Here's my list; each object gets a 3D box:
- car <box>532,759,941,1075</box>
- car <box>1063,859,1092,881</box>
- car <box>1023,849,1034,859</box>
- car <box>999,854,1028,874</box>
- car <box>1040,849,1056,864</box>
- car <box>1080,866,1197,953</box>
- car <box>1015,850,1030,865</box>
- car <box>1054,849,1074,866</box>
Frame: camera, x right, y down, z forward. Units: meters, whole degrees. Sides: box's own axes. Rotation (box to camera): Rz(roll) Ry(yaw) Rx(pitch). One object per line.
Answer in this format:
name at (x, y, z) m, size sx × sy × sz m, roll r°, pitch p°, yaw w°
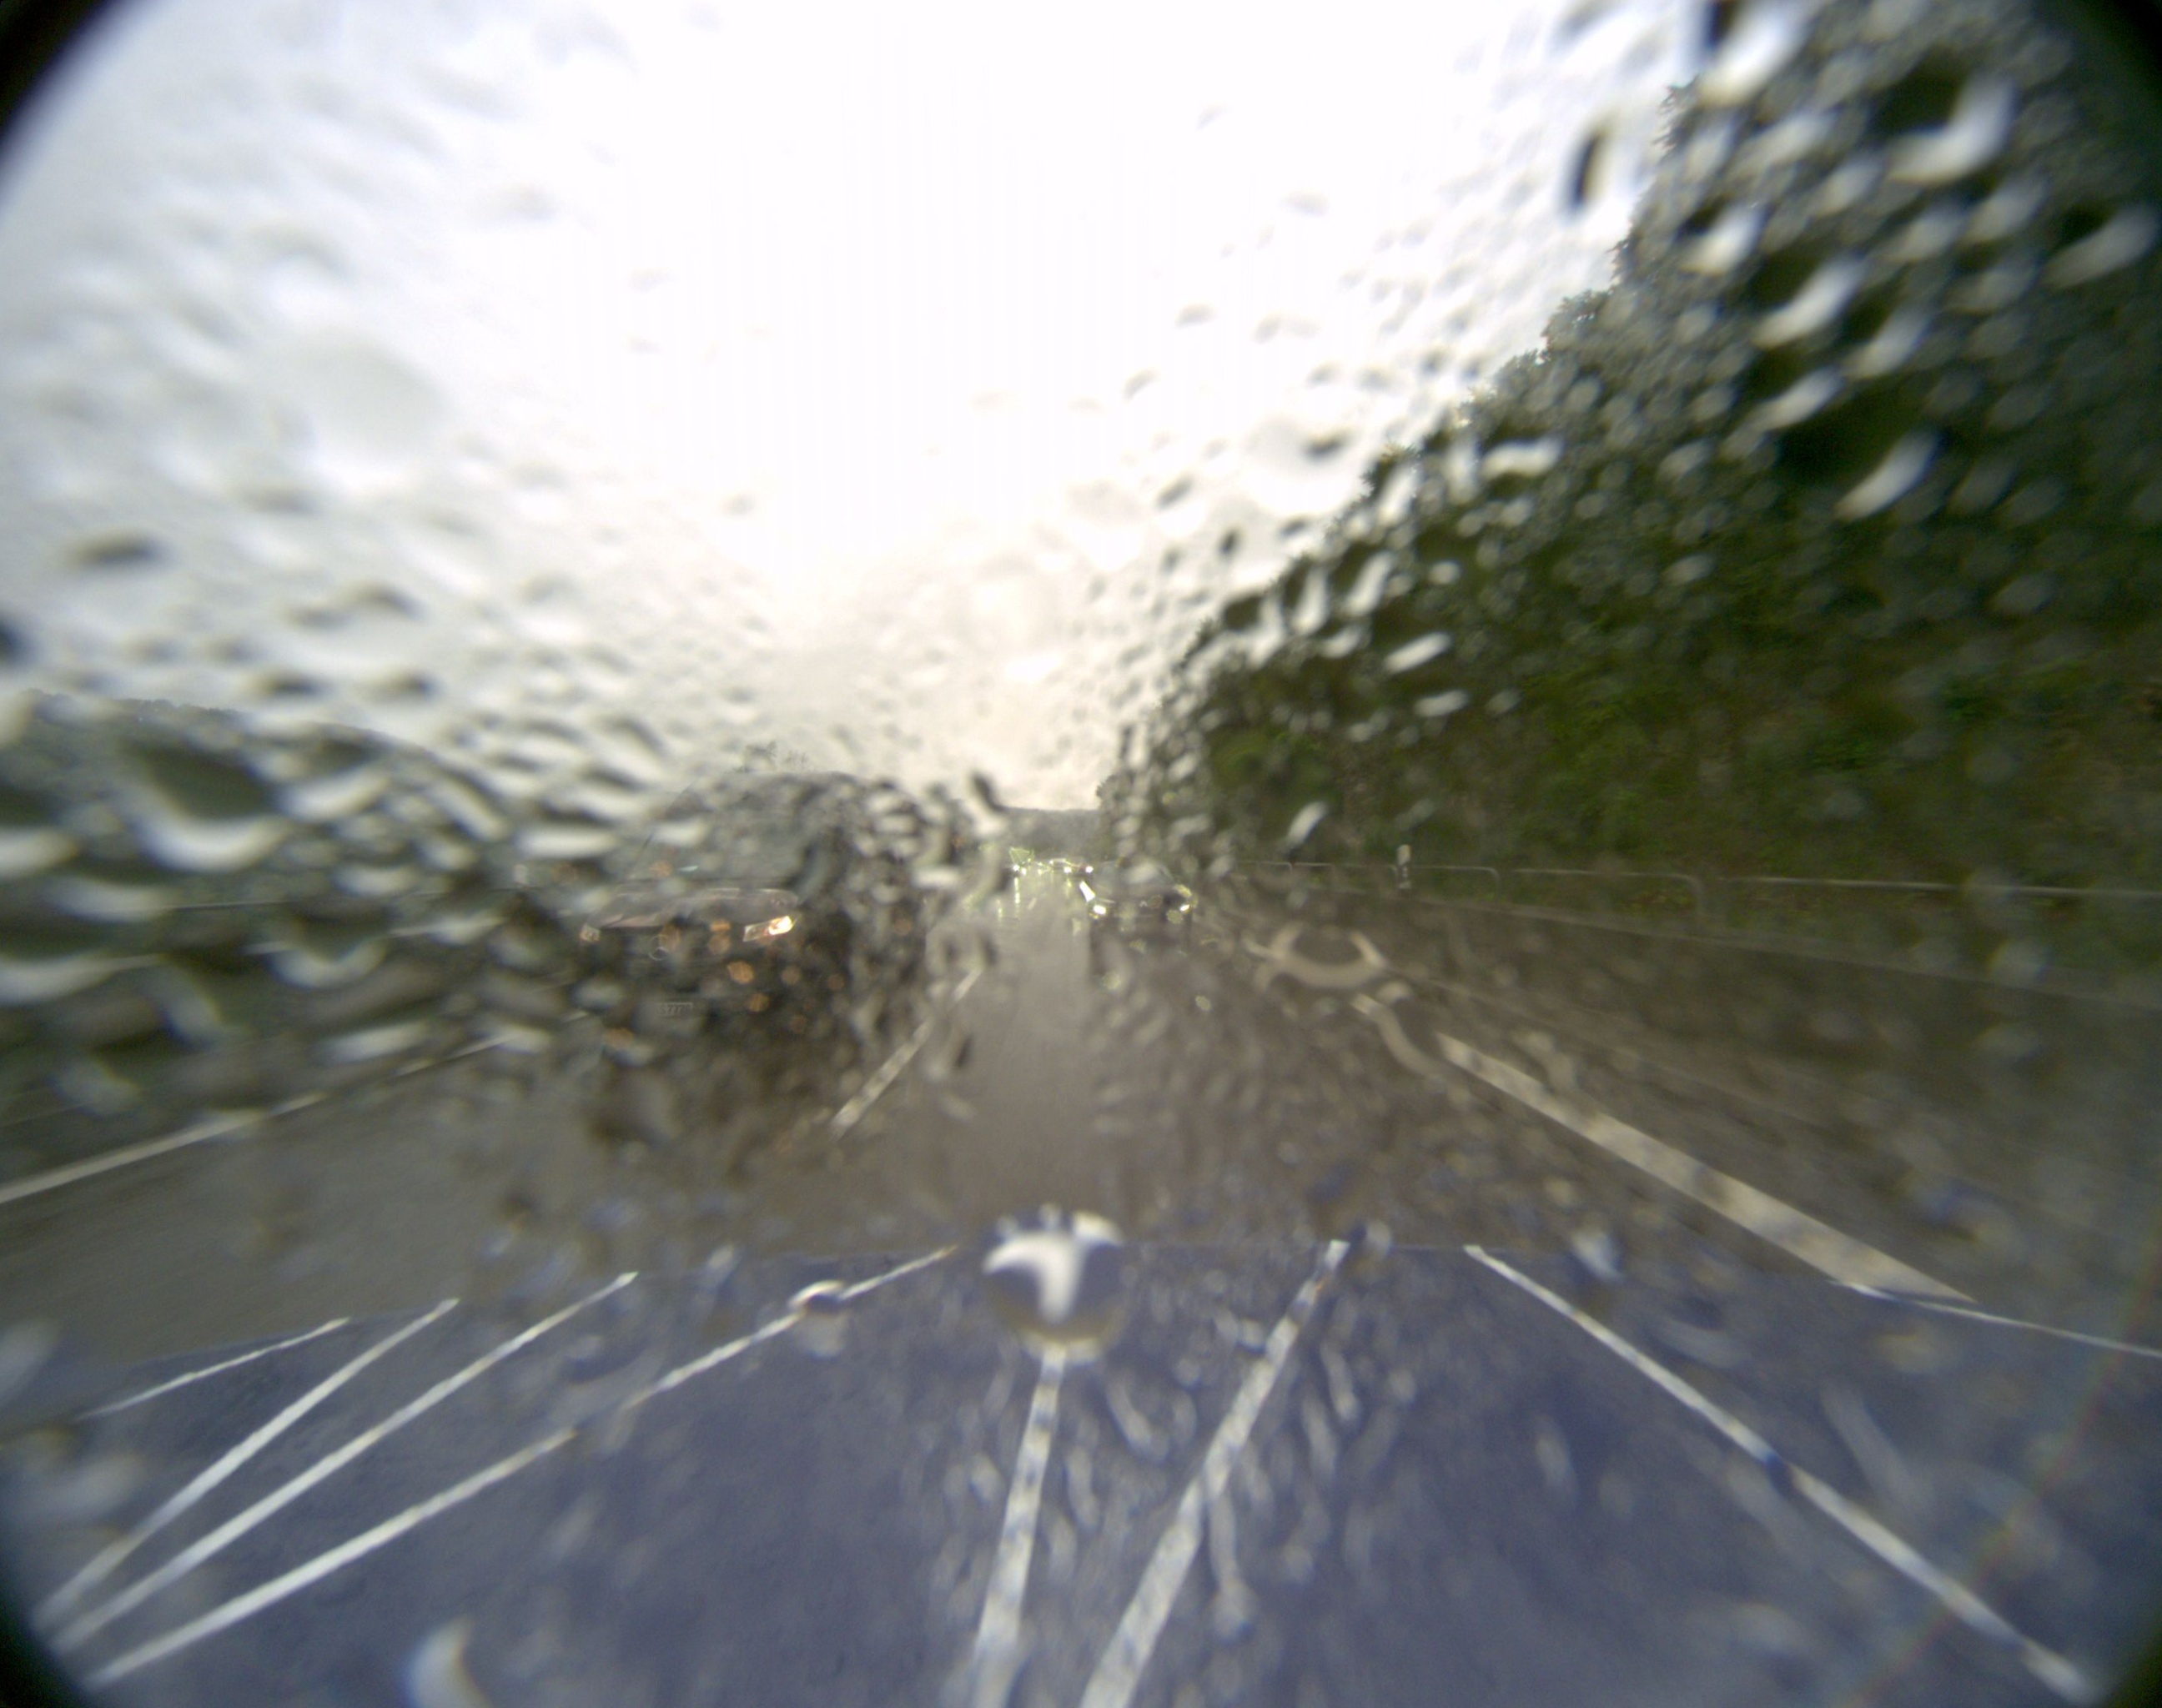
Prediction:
car at (-3.339, 0.482, 9.378) m, size 1.999 × 2.480 × 6.704 m, roll -1°, pitch 0°, yaw 0°
car at (-0.252, 0.992, 48.742) m, size 1.713 × 1.316 × 3.944 m, roll 0°, pitch 0°, yaw -3°
car at (-8.848, -0.049, 128.498) m, size 1.711 × 1.609 × 3.341 m, roll 2°, pitch 1°, yaw -3°
car at (-5.307, 0.755, 60.094) m, size 1.991 × 1.407 × 4.563 m, roll -2°, pitch 0°, yaw -2°
car at (-3.892, 0.298, 88.525) m, size 1.805 × 1.723 × 3.764 m, roll -2°, pitch 0°, yaw -3°
car at (0.942, 0.948, 14.630) m, size 1.839 × 1.316 × 4.134 m, roll -2°, pitch 0°, yaw -1°
car at (-7.576, 0.389, 97.935) m, size 1.766 × 1.851 × 3.766 m, roll -2°, pitch 0°, yaw -3°
car at (-1.705, 0.323, 76.293) m, size 1.907 × 1.545 × 4.562 m, roll 1°, pitch 0°, yaw -3°
